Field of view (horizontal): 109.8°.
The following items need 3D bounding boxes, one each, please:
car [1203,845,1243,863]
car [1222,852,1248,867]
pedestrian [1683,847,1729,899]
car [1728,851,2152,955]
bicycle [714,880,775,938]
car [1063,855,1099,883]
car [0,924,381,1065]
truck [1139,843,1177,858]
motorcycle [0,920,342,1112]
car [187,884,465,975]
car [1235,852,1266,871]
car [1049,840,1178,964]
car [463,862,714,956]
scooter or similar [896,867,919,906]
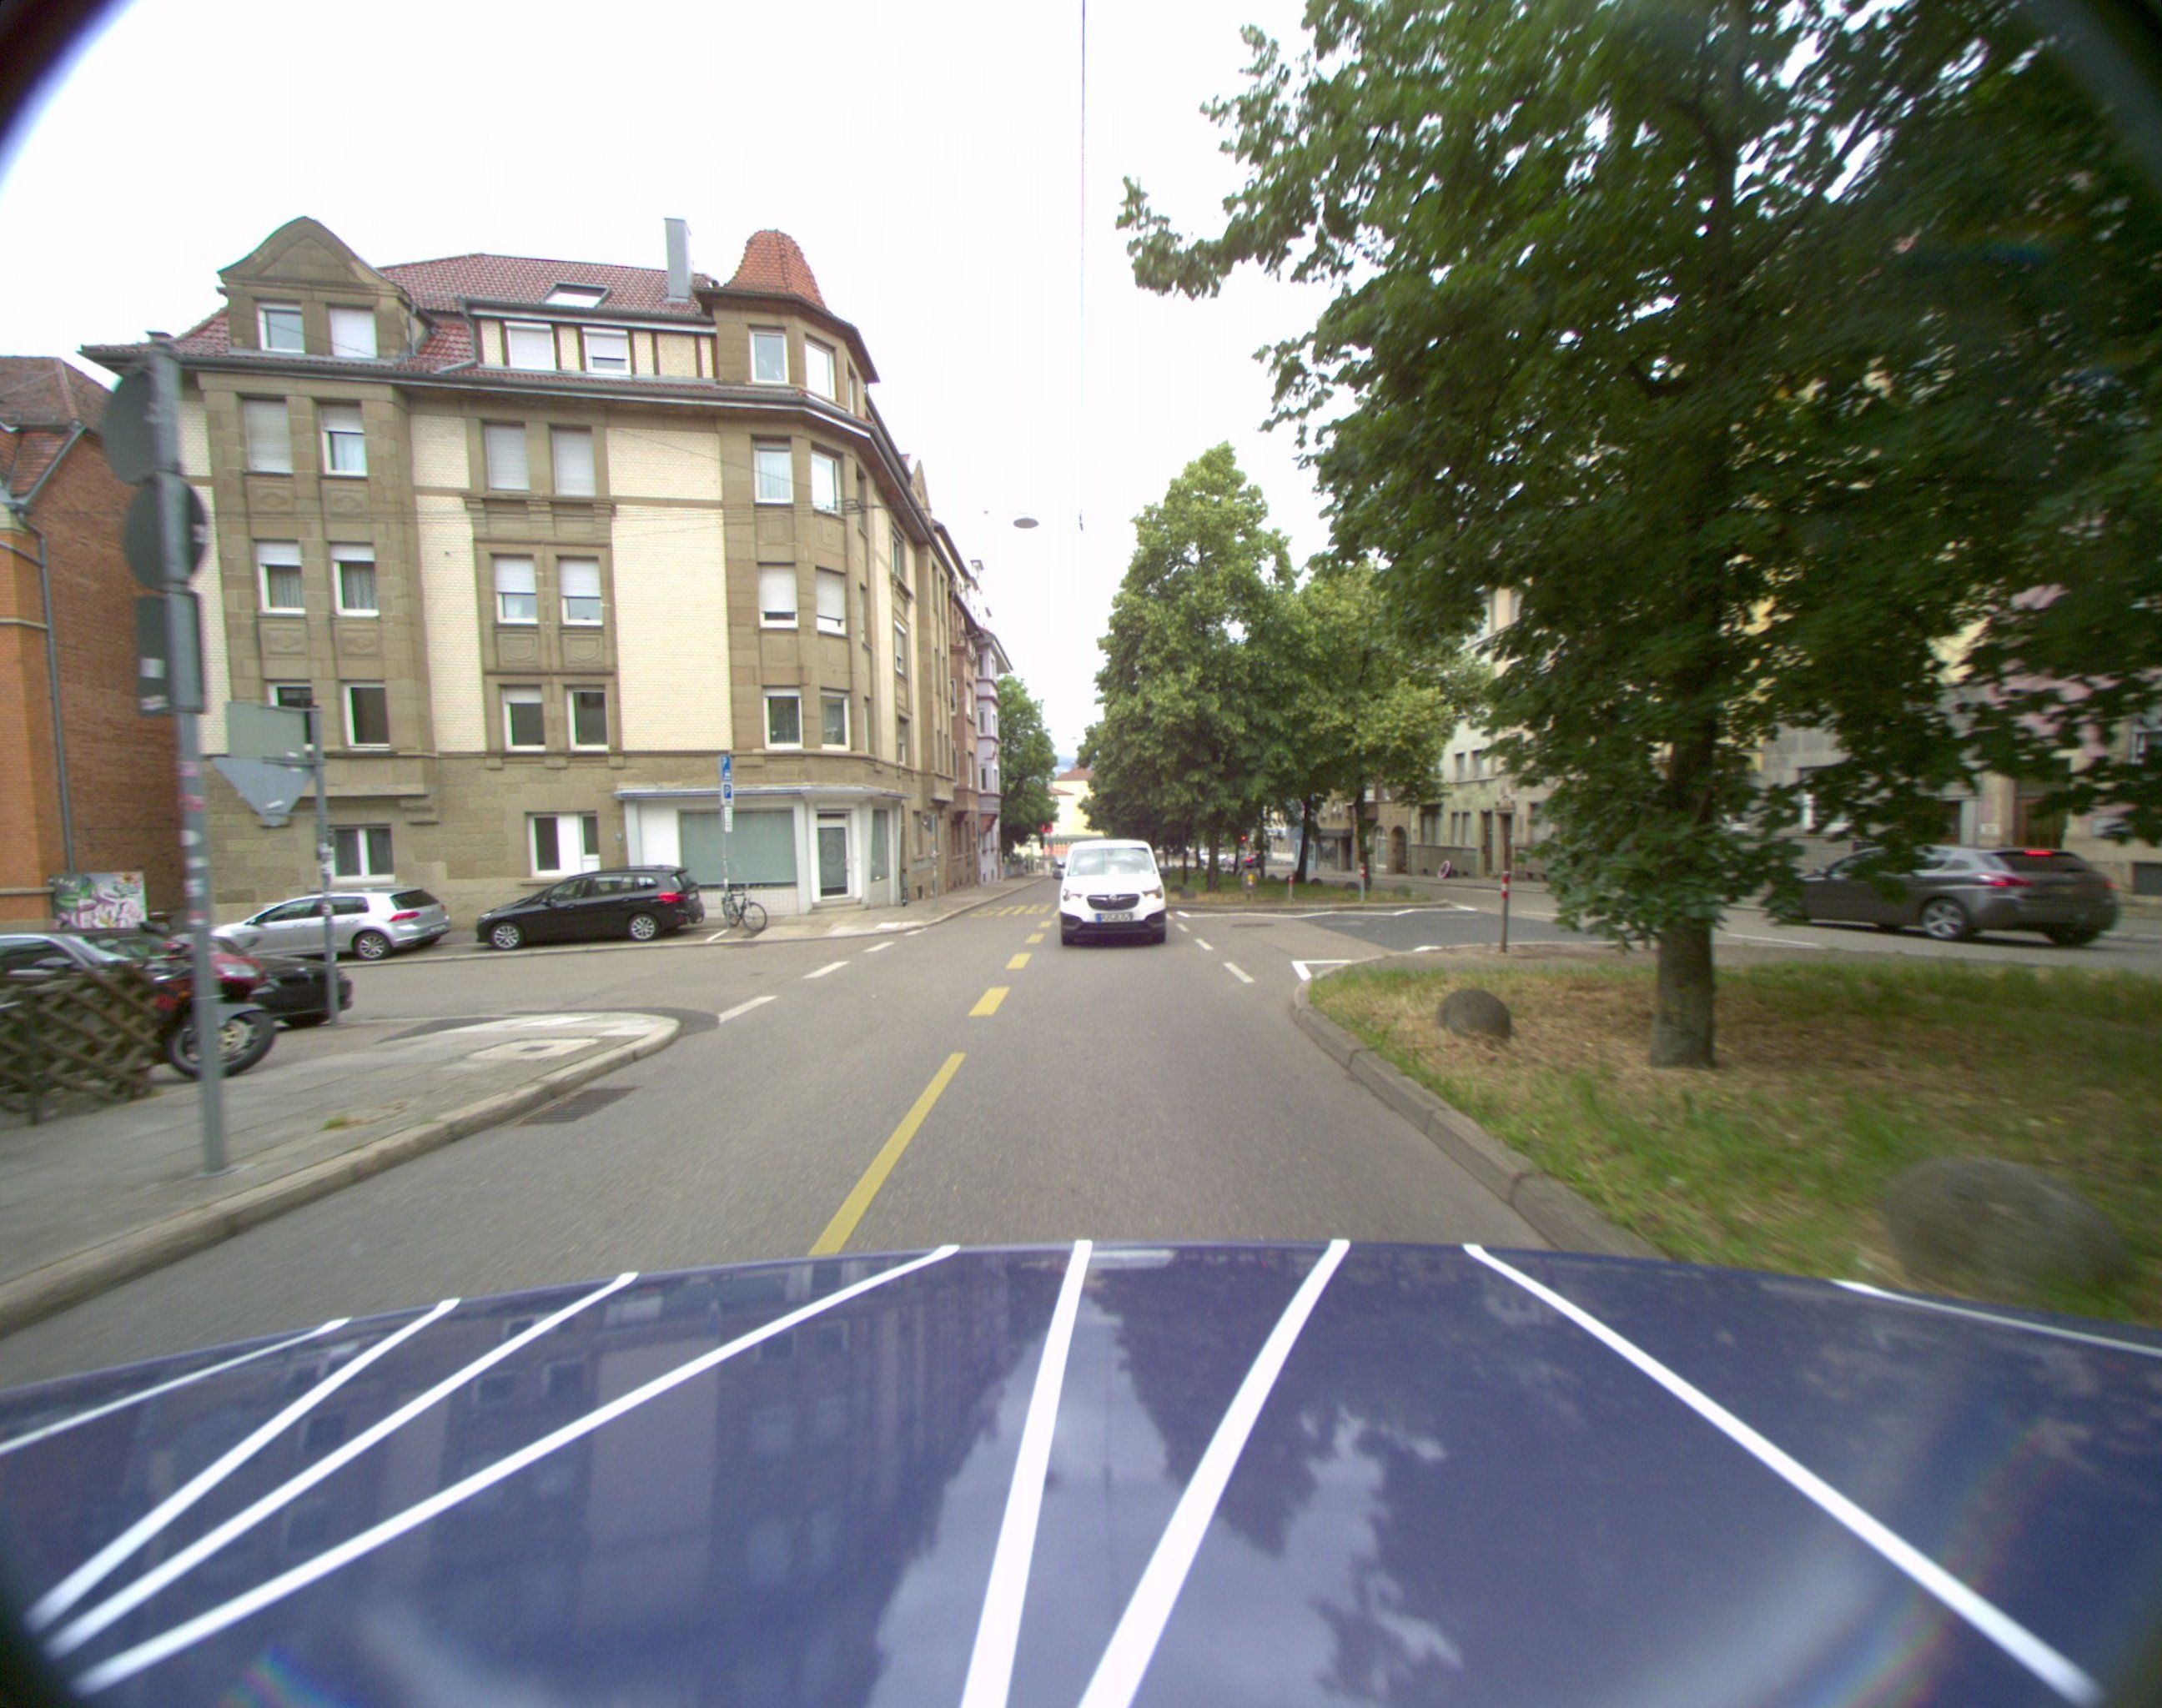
[{"bbox_3d":[17.216,-0.040,91.986,4.258,2.003,2.003,-1,3,32],"label":"car"},{"bbox_3d":[15.919,0.565,78.900,1.673,1.398,4.294,-1,0,-2],"label":"car"},{"bbox_3d":[17.834,0.535,21.687,0.700,1.452,0.704,-2,0,1],"label":"pedestrian"},{"bbox_3d":[13.340,0.680,12.378,1.712,1.374,4.669,0,-1,2],"label":"car"},{"bbox_3d":[-8.167,1.305,18.404,0.642,1.134,2.068,-7,7,-43],"label":"bicycle"},{"bbox_3d":[-0.026,0.852,45.229,2.038,1.541,4.035,-2,0,-1],"label":"car"},{"bbox_3d":[-10.897,1.557,8.653,4.135,1.277,1.783,-2,-3,-2],"label":"car"},{"bbox_3d":[13.850,-0.649,137.192,6.467,2.707,2.766,-1,0,-33],"label":"truck"},{"bbox_3d":[-7.635,1.273,6.212,2.061,1.260,1.010,-3,0,-3],"label":"motorcycle"},{"bbox_3d":[-16.122,1.575,16.447,3.873,1.455,1.685,-3,5,-10],"label":"car"},{"bbox_3d":[15.807,0.657,71.033,1.820,1.627,4.678,0,1,-1],"label":"car"},{"bbox_3d":[0.616,0.717,13.450,1.857,1.798,4.730,-1,0,3],"label":"car"},{"bbox_3d":[-11.117,1.193,17.482,4.378,1.637,1.783,-3,5,-10],"label":"car"},{"bbox_3d":[-5.594,1.058,24.530,0.411,1.202,1.146,1,-2,1],"label":"scooter or similar"}]
